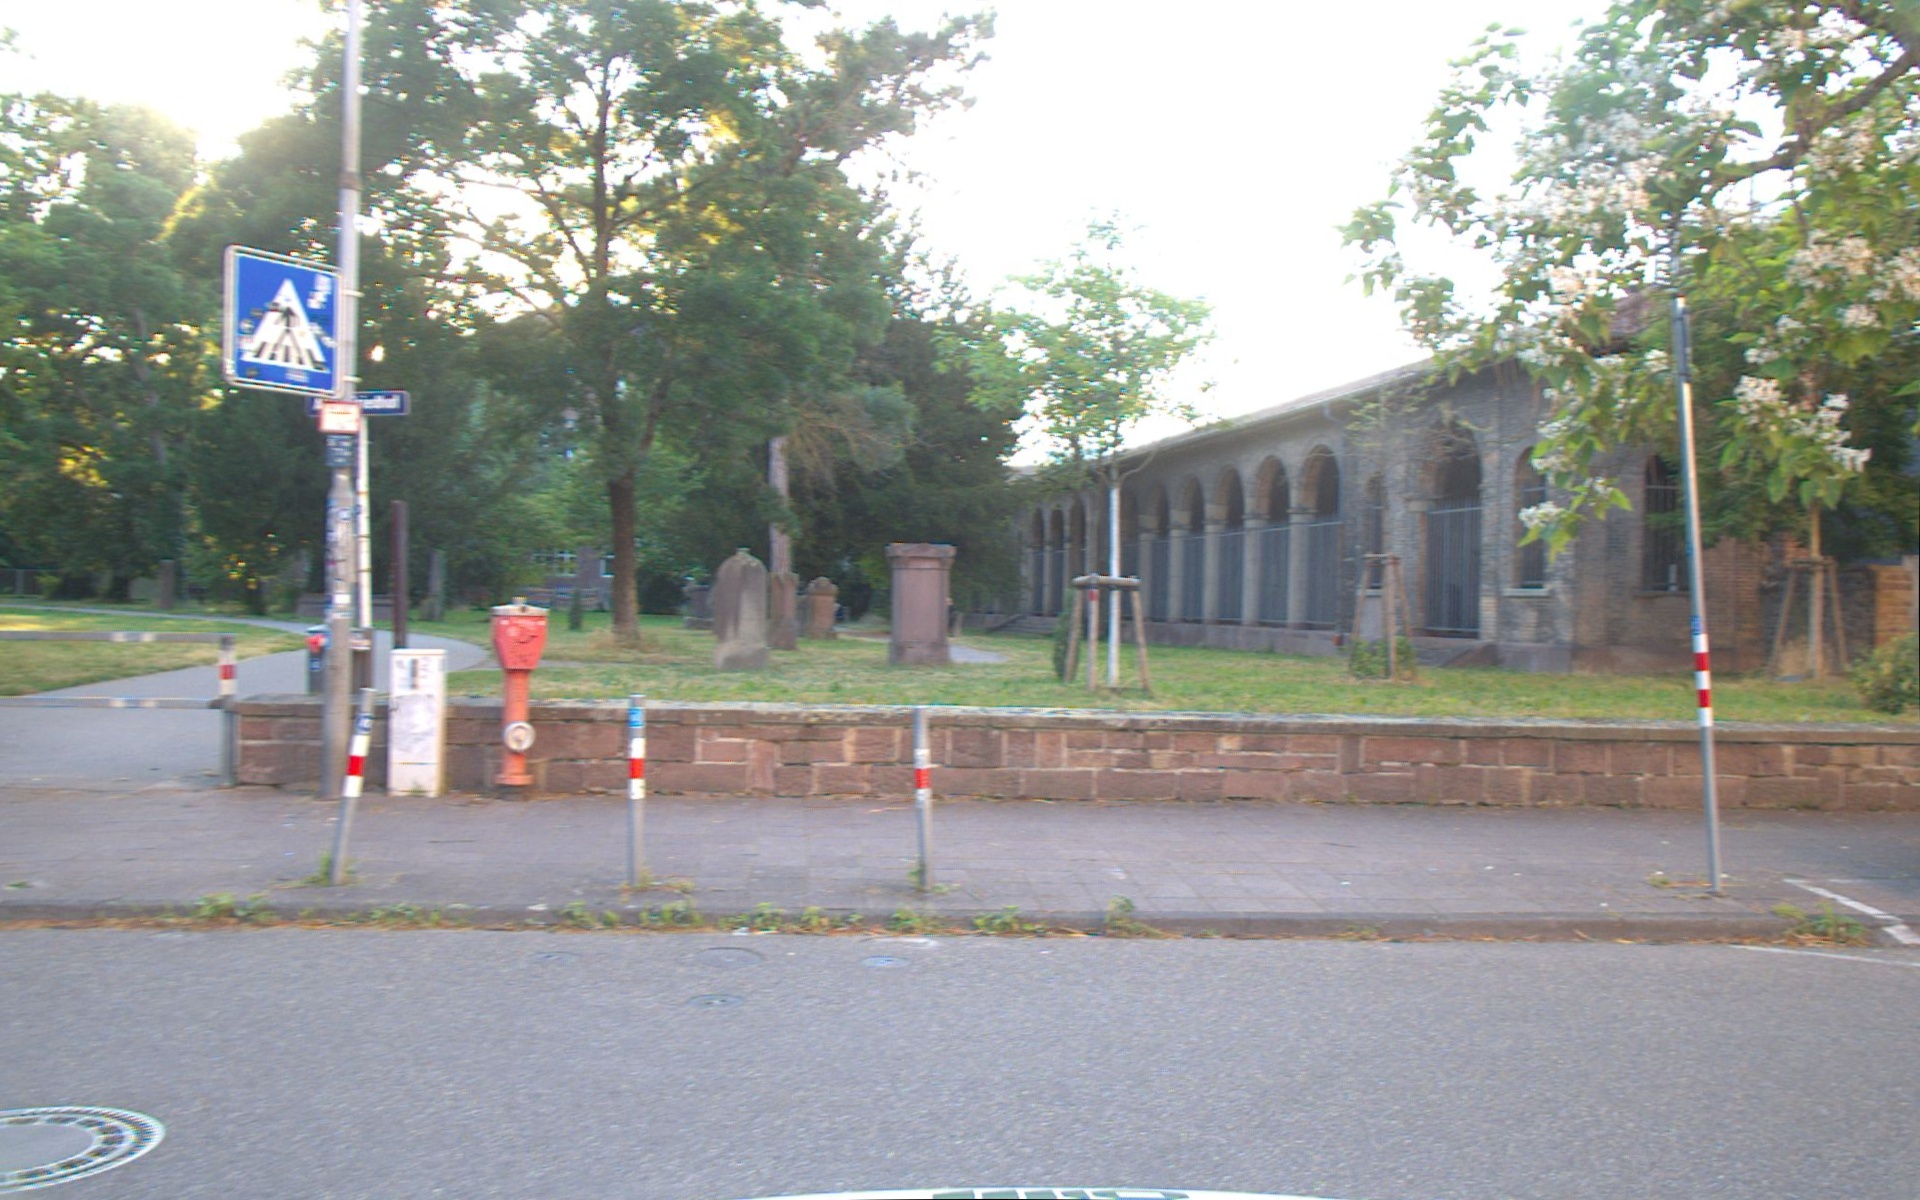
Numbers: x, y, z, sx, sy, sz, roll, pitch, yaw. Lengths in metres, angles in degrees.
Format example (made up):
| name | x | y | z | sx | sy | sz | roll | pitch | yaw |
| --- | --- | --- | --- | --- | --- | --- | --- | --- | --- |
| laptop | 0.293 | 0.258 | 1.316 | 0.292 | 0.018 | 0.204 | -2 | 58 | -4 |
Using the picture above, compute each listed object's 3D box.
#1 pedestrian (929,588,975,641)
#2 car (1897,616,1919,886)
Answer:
| name | x | y | z | sx | sy | sz | roll | pitch | yaw |
| --- | --- | --- | --- | --- | --- | --- | --- | --- | --- |
| pedestrian | -0.212 | 0.394 | 45.432 | 1.251 | 1.451 | 1.237 | 0 | -1 | 0 |
| car | 7.491 | 0.916 | 9.193 | 3.803 | 1.540 | 1.663 | 0 | 3 | -12 |
